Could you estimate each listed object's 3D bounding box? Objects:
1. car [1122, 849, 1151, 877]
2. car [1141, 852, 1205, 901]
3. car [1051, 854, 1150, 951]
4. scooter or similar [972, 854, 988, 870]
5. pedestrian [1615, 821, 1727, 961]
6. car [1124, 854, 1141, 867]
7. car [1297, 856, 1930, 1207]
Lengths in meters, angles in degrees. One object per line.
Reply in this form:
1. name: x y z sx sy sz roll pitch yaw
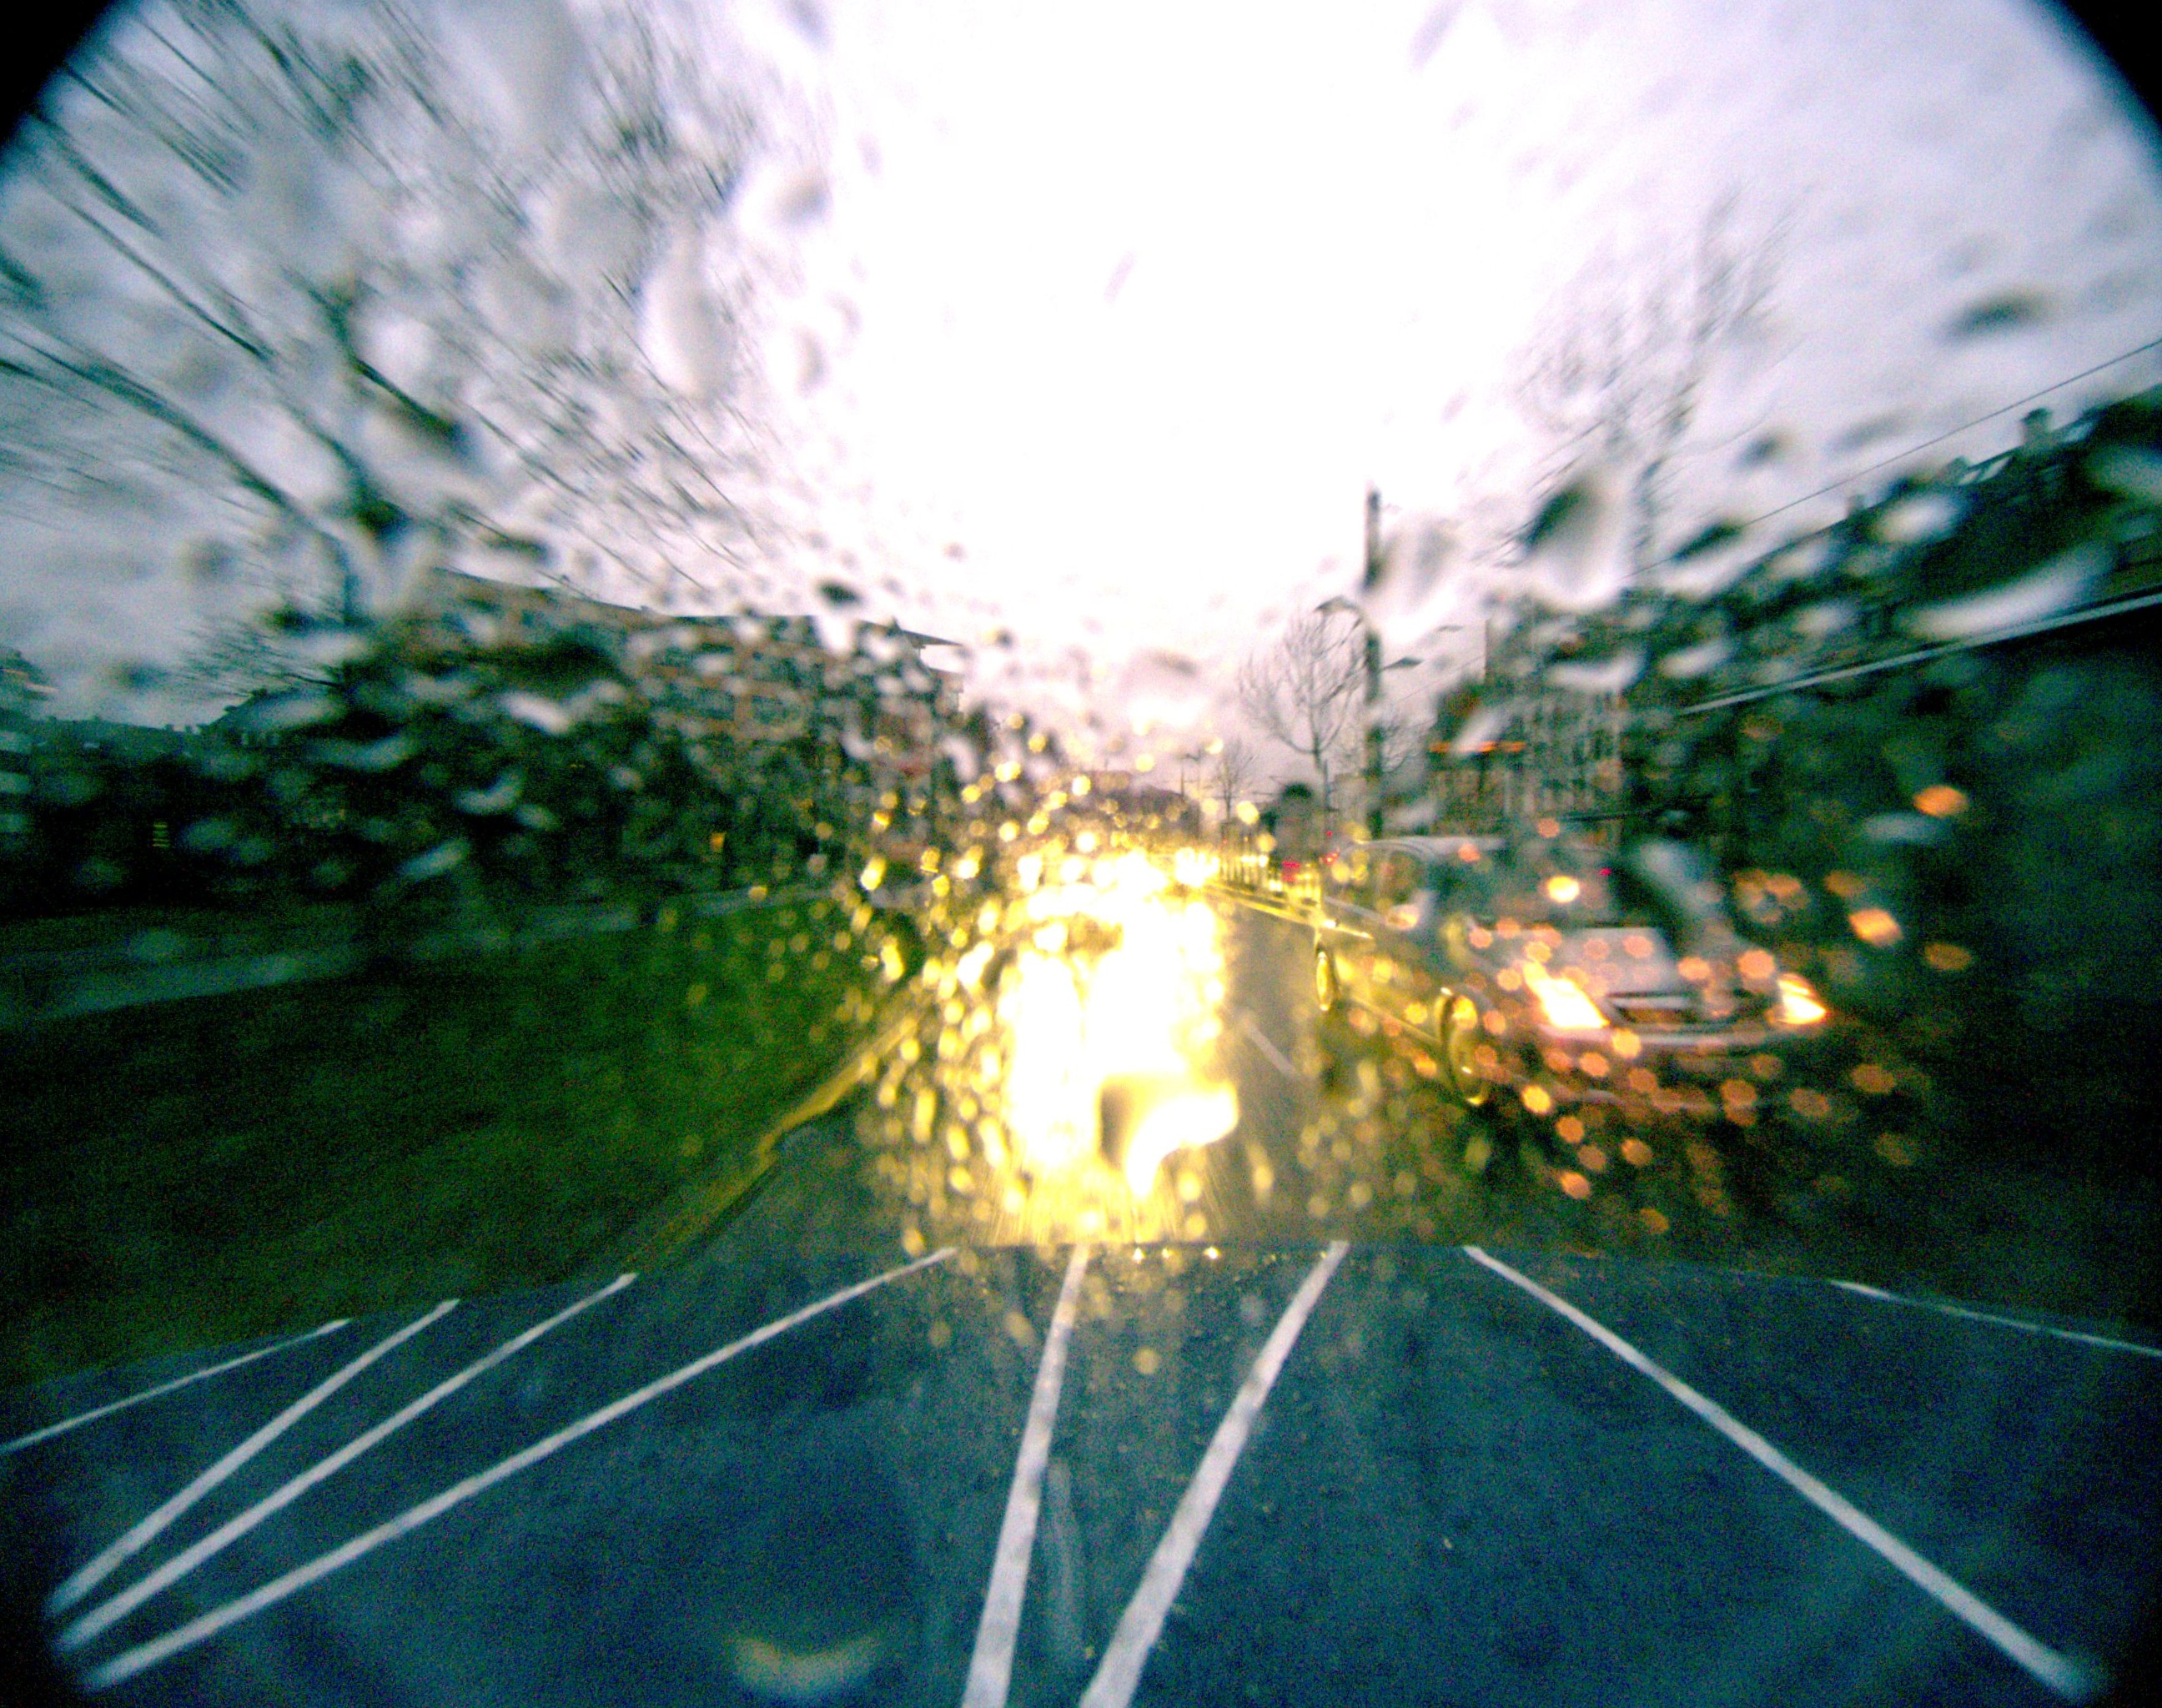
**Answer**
1. car: 3.727 0.577 51.353 1.819 1.732 4.187 1 0 3
2. car: 3.122 0.717 26.454 1.753 1.535 4.000 1 0 1
3. car: 0.484 0.819 14.598 1.649 1.575 3.806 -1 1 5
4. scooter or similar: -7.974 0.616 60.001 1.146 1.224 0.487 0 0 -15
5. pedestrian: 6.987 0.422 9.034 0.712 1.597 0.746 0 1 -2
6. car: 4.929 0.601 73.167 1.618 1.259 4.001 1 0 3
7. car: 2.957 0.798 5.439 1.649 1.539 4.109 0 0 0
